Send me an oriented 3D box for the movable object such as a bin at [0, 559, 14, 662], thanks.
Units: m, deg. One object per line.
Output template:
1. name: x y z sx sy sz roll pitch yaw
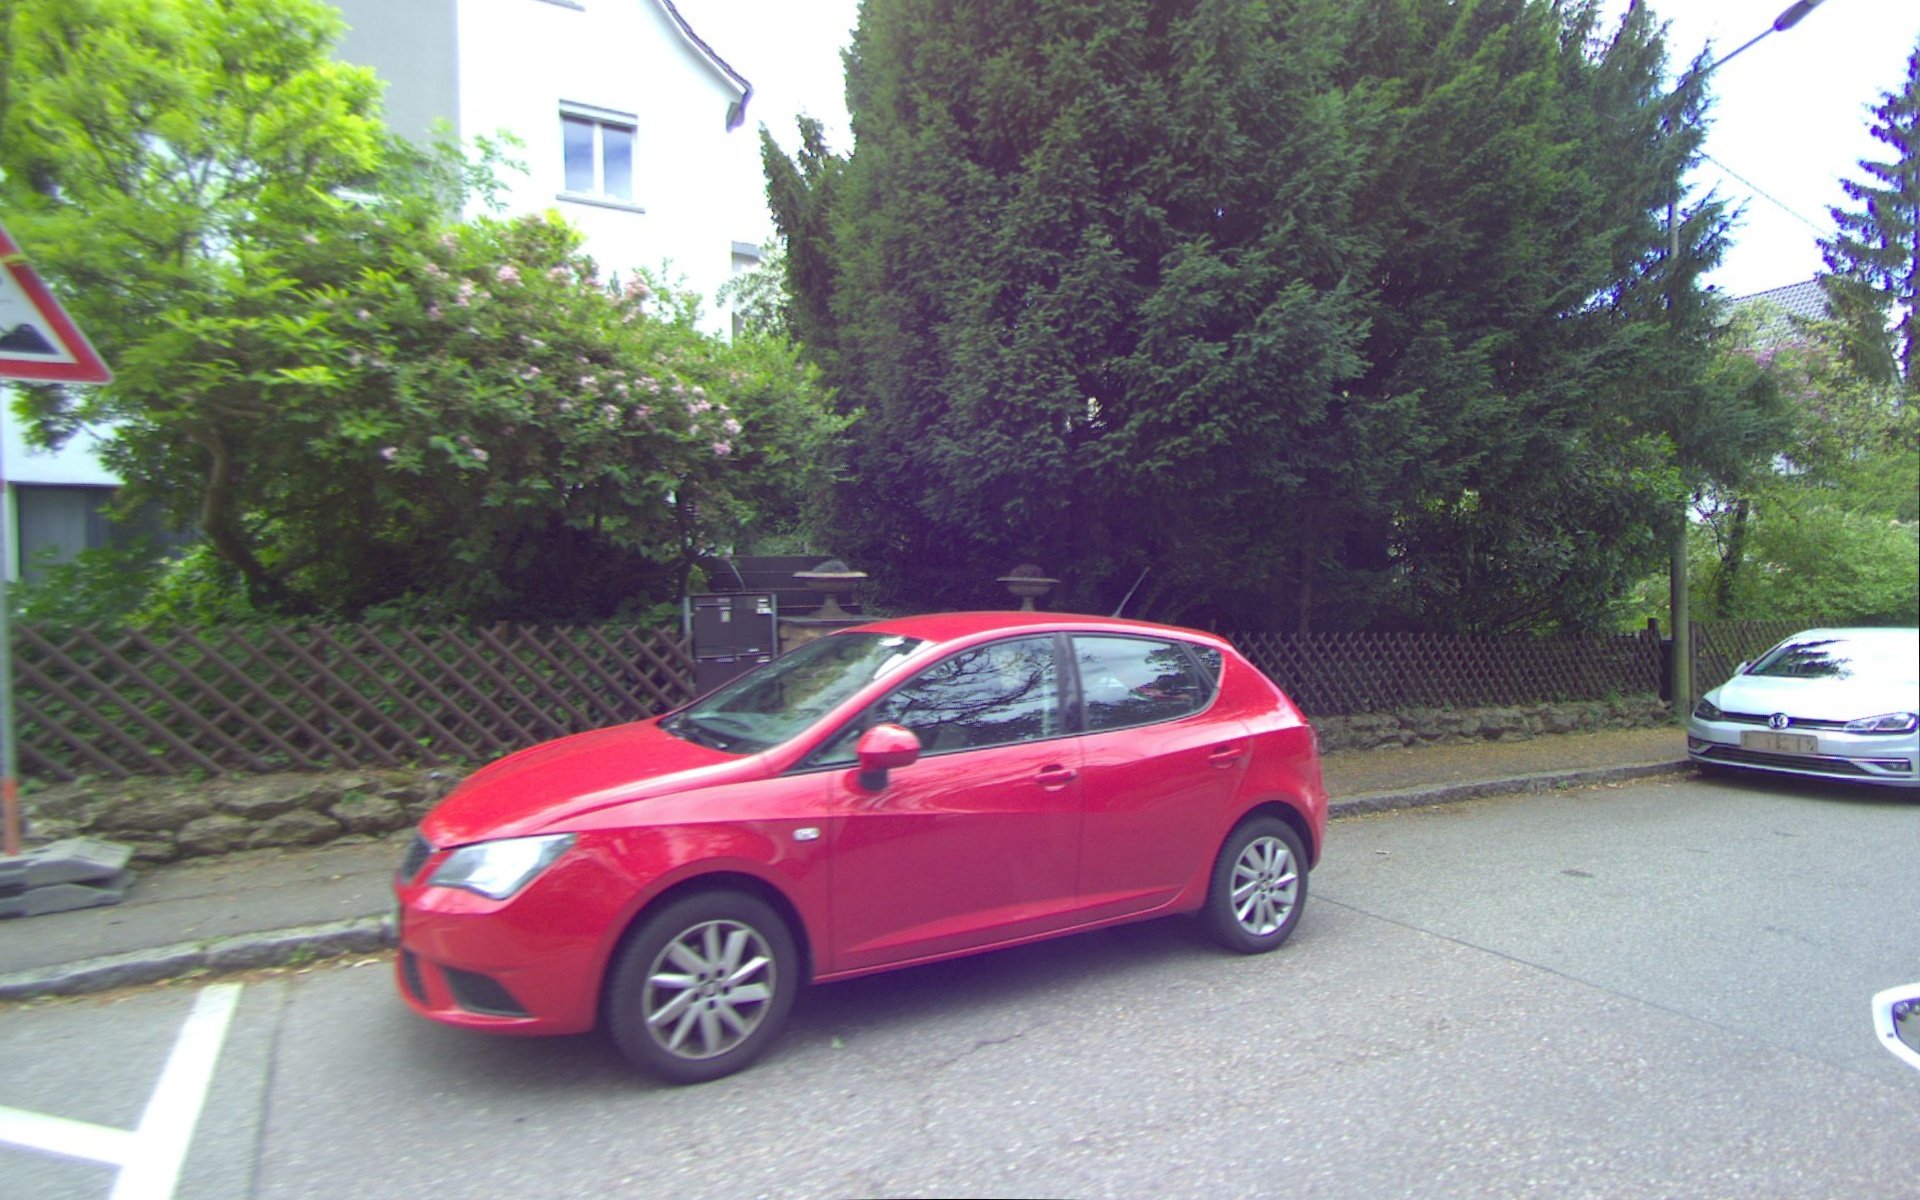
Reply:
1. movable object such as a bin: -11.637 0.120 11.677 0.759 1.202 0.721 1 -1 -31

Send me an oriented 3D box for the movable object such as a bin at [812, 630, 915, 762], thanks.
1. movable object such as a bin: -0.735 0.712 7.703 0.523 0.936 0.573 2 1 34

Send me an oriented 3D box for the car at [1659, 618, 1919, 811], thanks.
1. car: 8.791 0.934 9.657 4.273 1.458 1.775 1 0 -31

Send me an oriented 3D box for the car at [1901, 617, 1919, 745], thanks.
1. car: 13.536 1.017 12.318 3.966 1.520 1.776 1 0 -29

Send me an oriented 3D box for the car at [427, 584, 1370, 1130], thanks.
1. car: -0.175 0.704 4.385 3.743 1.458 1.728 1 0 -30
